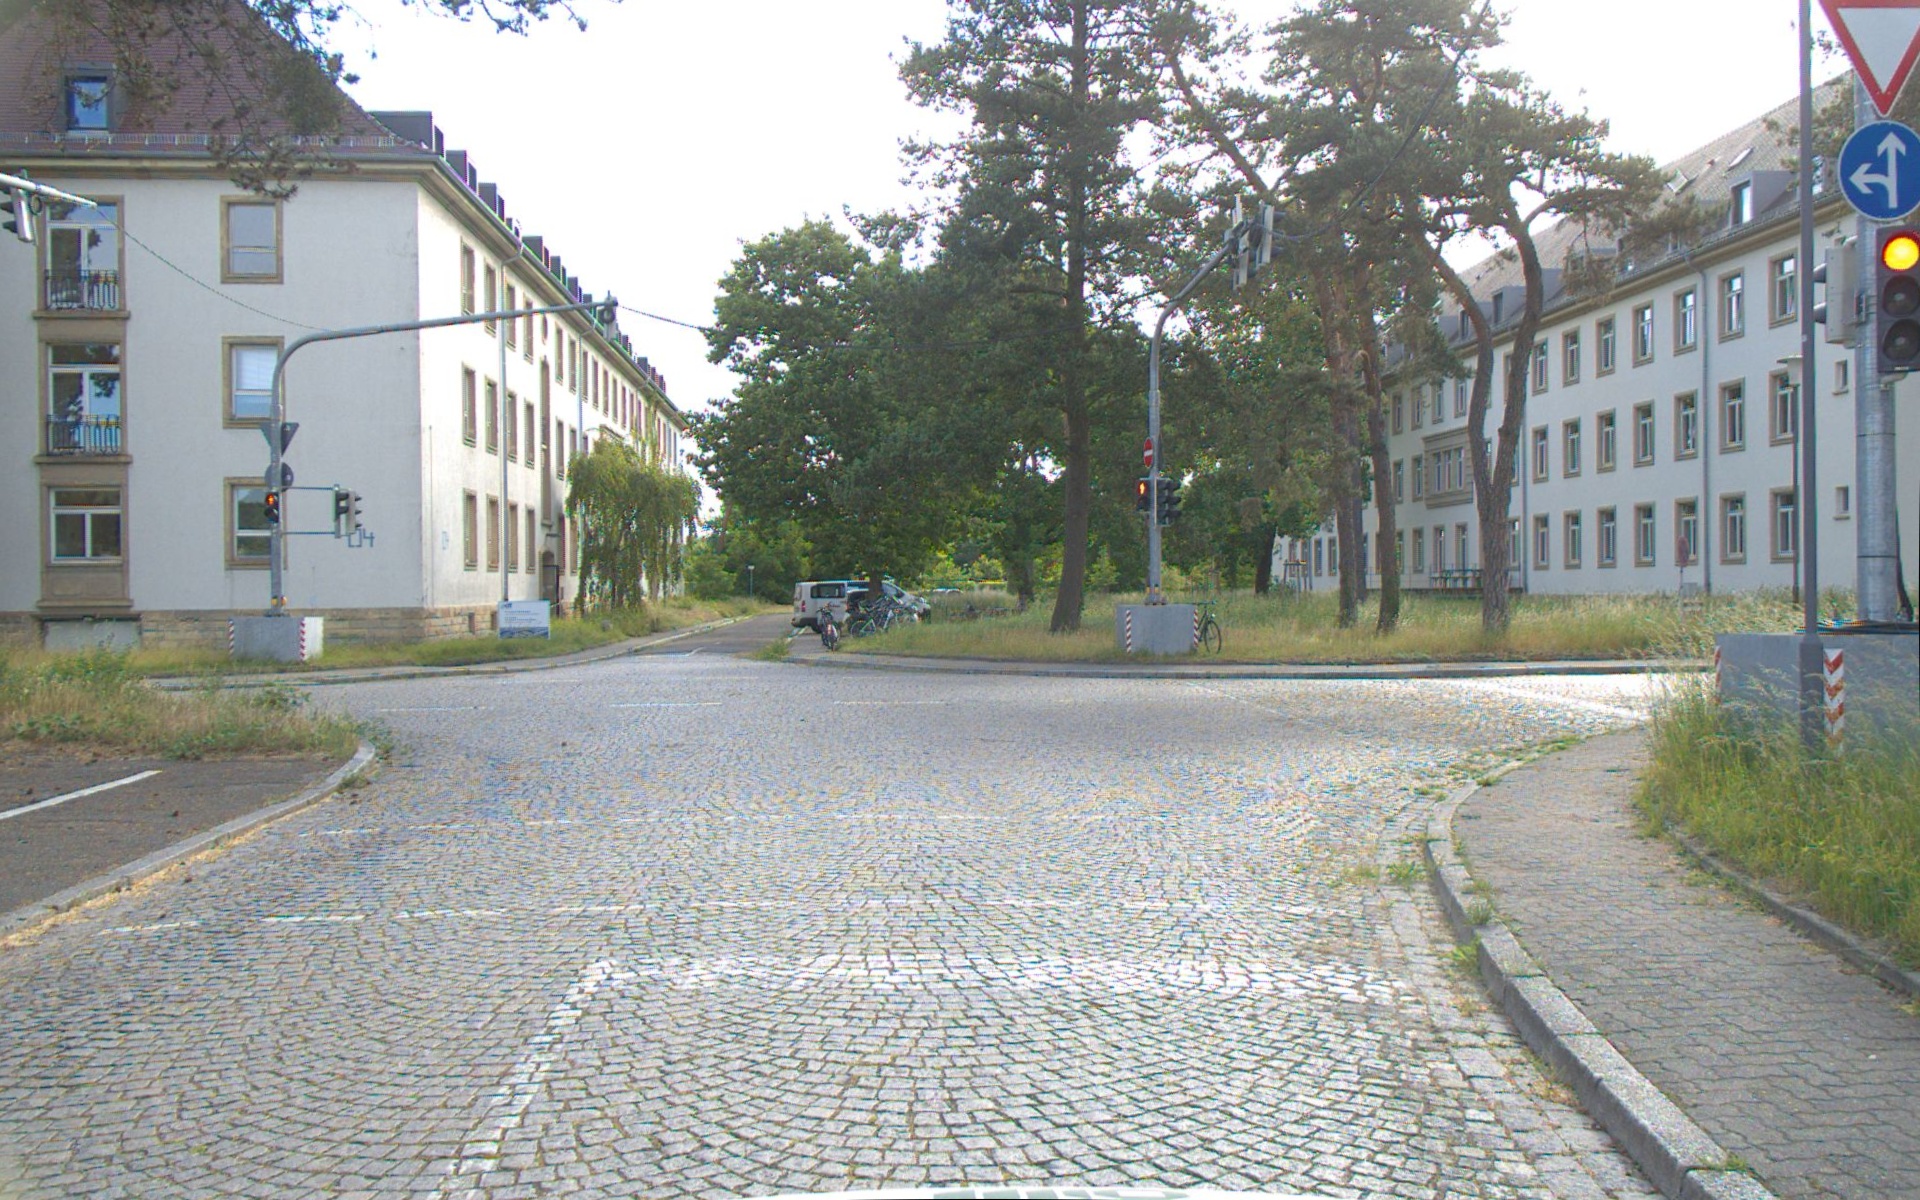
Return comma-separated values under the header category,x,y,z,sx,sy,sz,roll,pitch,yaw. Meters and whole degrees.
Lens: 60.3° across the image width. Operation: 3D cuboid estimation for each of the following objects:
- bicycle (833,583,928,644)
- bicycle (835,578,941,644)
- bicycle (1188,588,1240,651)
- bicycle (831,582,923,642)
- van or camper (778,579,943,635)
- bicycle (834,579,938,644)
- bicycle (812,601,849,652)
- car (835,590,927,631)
category,x,y,z,sx,sy,sz,roll,pitch,yaw
bicycle,-2.343,0.389,49.119,2.719,1.723,1.120,2,0,0
bicycle,-1.945,0.284,44.379,2.725,1.723,1.118,-1,0,-10
bicycle,5.057,0.378,33.071,0.709,1.189,2.738,1,0,2
bicycle,-2.515,0.369,50.447,2.720,1.723,1.119,2,0,-3
van or camper,-3.751,0.223,62.278,5.938,1.983,1.990,-1,0,-18
bicycle,-2.050,0.307,45.568,2.726,1.723,1.117,-1,0,-12
bicycle,-3.117,0.618,40.005,0.711,1.127,2.461,-5,0,-3
car,-2.822,0.355,58.735,3.080,1.378,1.616,-1,0,-10
